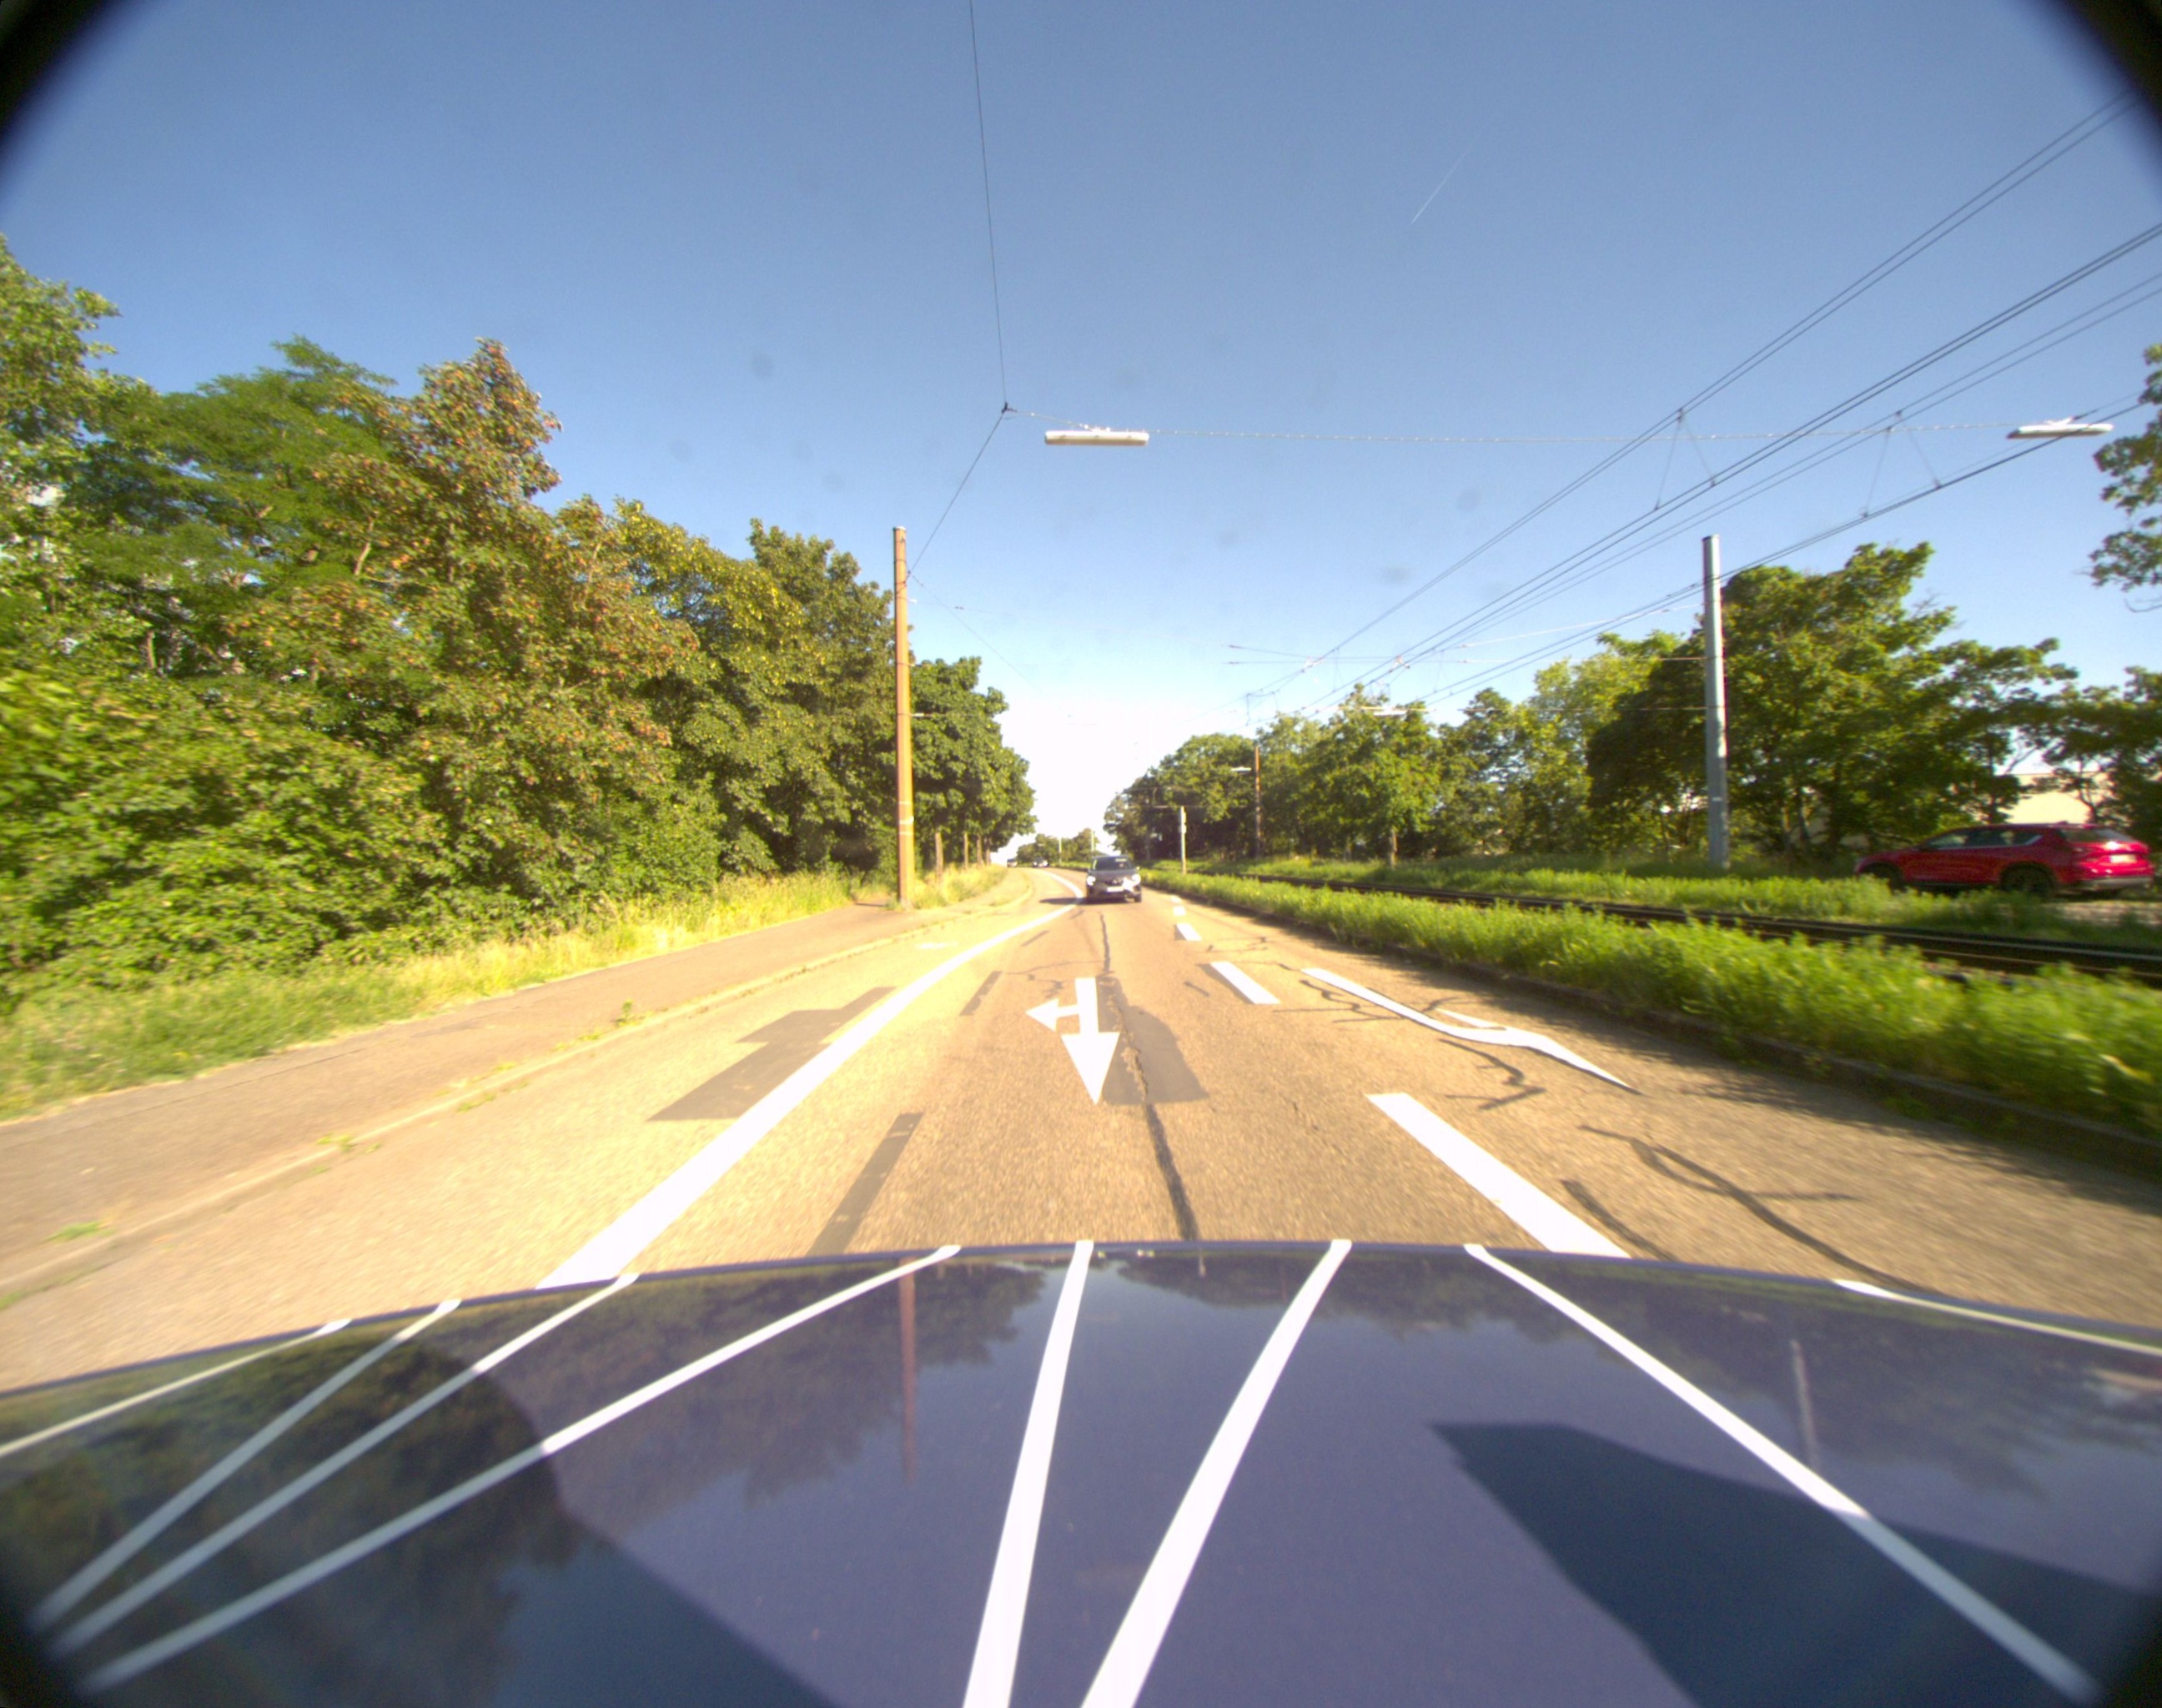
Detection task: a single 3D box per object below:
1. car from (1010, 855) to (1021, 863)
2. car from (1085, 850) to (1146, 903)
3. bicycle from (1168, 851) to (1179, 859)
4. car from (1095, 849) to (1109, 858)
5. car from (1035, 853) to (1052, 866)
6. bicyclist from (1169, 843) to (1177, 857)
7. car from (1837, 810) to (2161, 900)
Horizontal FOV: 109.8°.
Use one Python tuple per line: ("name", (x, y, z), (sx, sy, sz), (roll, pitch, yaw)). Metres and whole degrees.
("car", (-14.394, 1.071, 167.265), (2.000, 1.577, 3.996), (-3, 1, -10))
("car", (1.124, 0.695, 26.055), (1.822, 1.589, 4.413), (-3, 0, 1))
("bicycle", (11.746, 0.091, 96.822), (0.820, 0.909, 2.536), (-2, 0, -5))
("car", (3.796, -0.147, 137.395), (1.716, 1.471, 3.997), (-3, 0, -8))
("car", (-5.059, 0.681, 102.533), (1.999, 1.577, 3.997), (-3, 1, -6))
("bicyclist", (11.694, -0.485, 96.802), (0.821, 1.726, 0.902), (-2, 1, -5))
("car", (20.247, 0.003, 17.058), (2.009, 1.692, 4.465), (-2, 0, -2))
